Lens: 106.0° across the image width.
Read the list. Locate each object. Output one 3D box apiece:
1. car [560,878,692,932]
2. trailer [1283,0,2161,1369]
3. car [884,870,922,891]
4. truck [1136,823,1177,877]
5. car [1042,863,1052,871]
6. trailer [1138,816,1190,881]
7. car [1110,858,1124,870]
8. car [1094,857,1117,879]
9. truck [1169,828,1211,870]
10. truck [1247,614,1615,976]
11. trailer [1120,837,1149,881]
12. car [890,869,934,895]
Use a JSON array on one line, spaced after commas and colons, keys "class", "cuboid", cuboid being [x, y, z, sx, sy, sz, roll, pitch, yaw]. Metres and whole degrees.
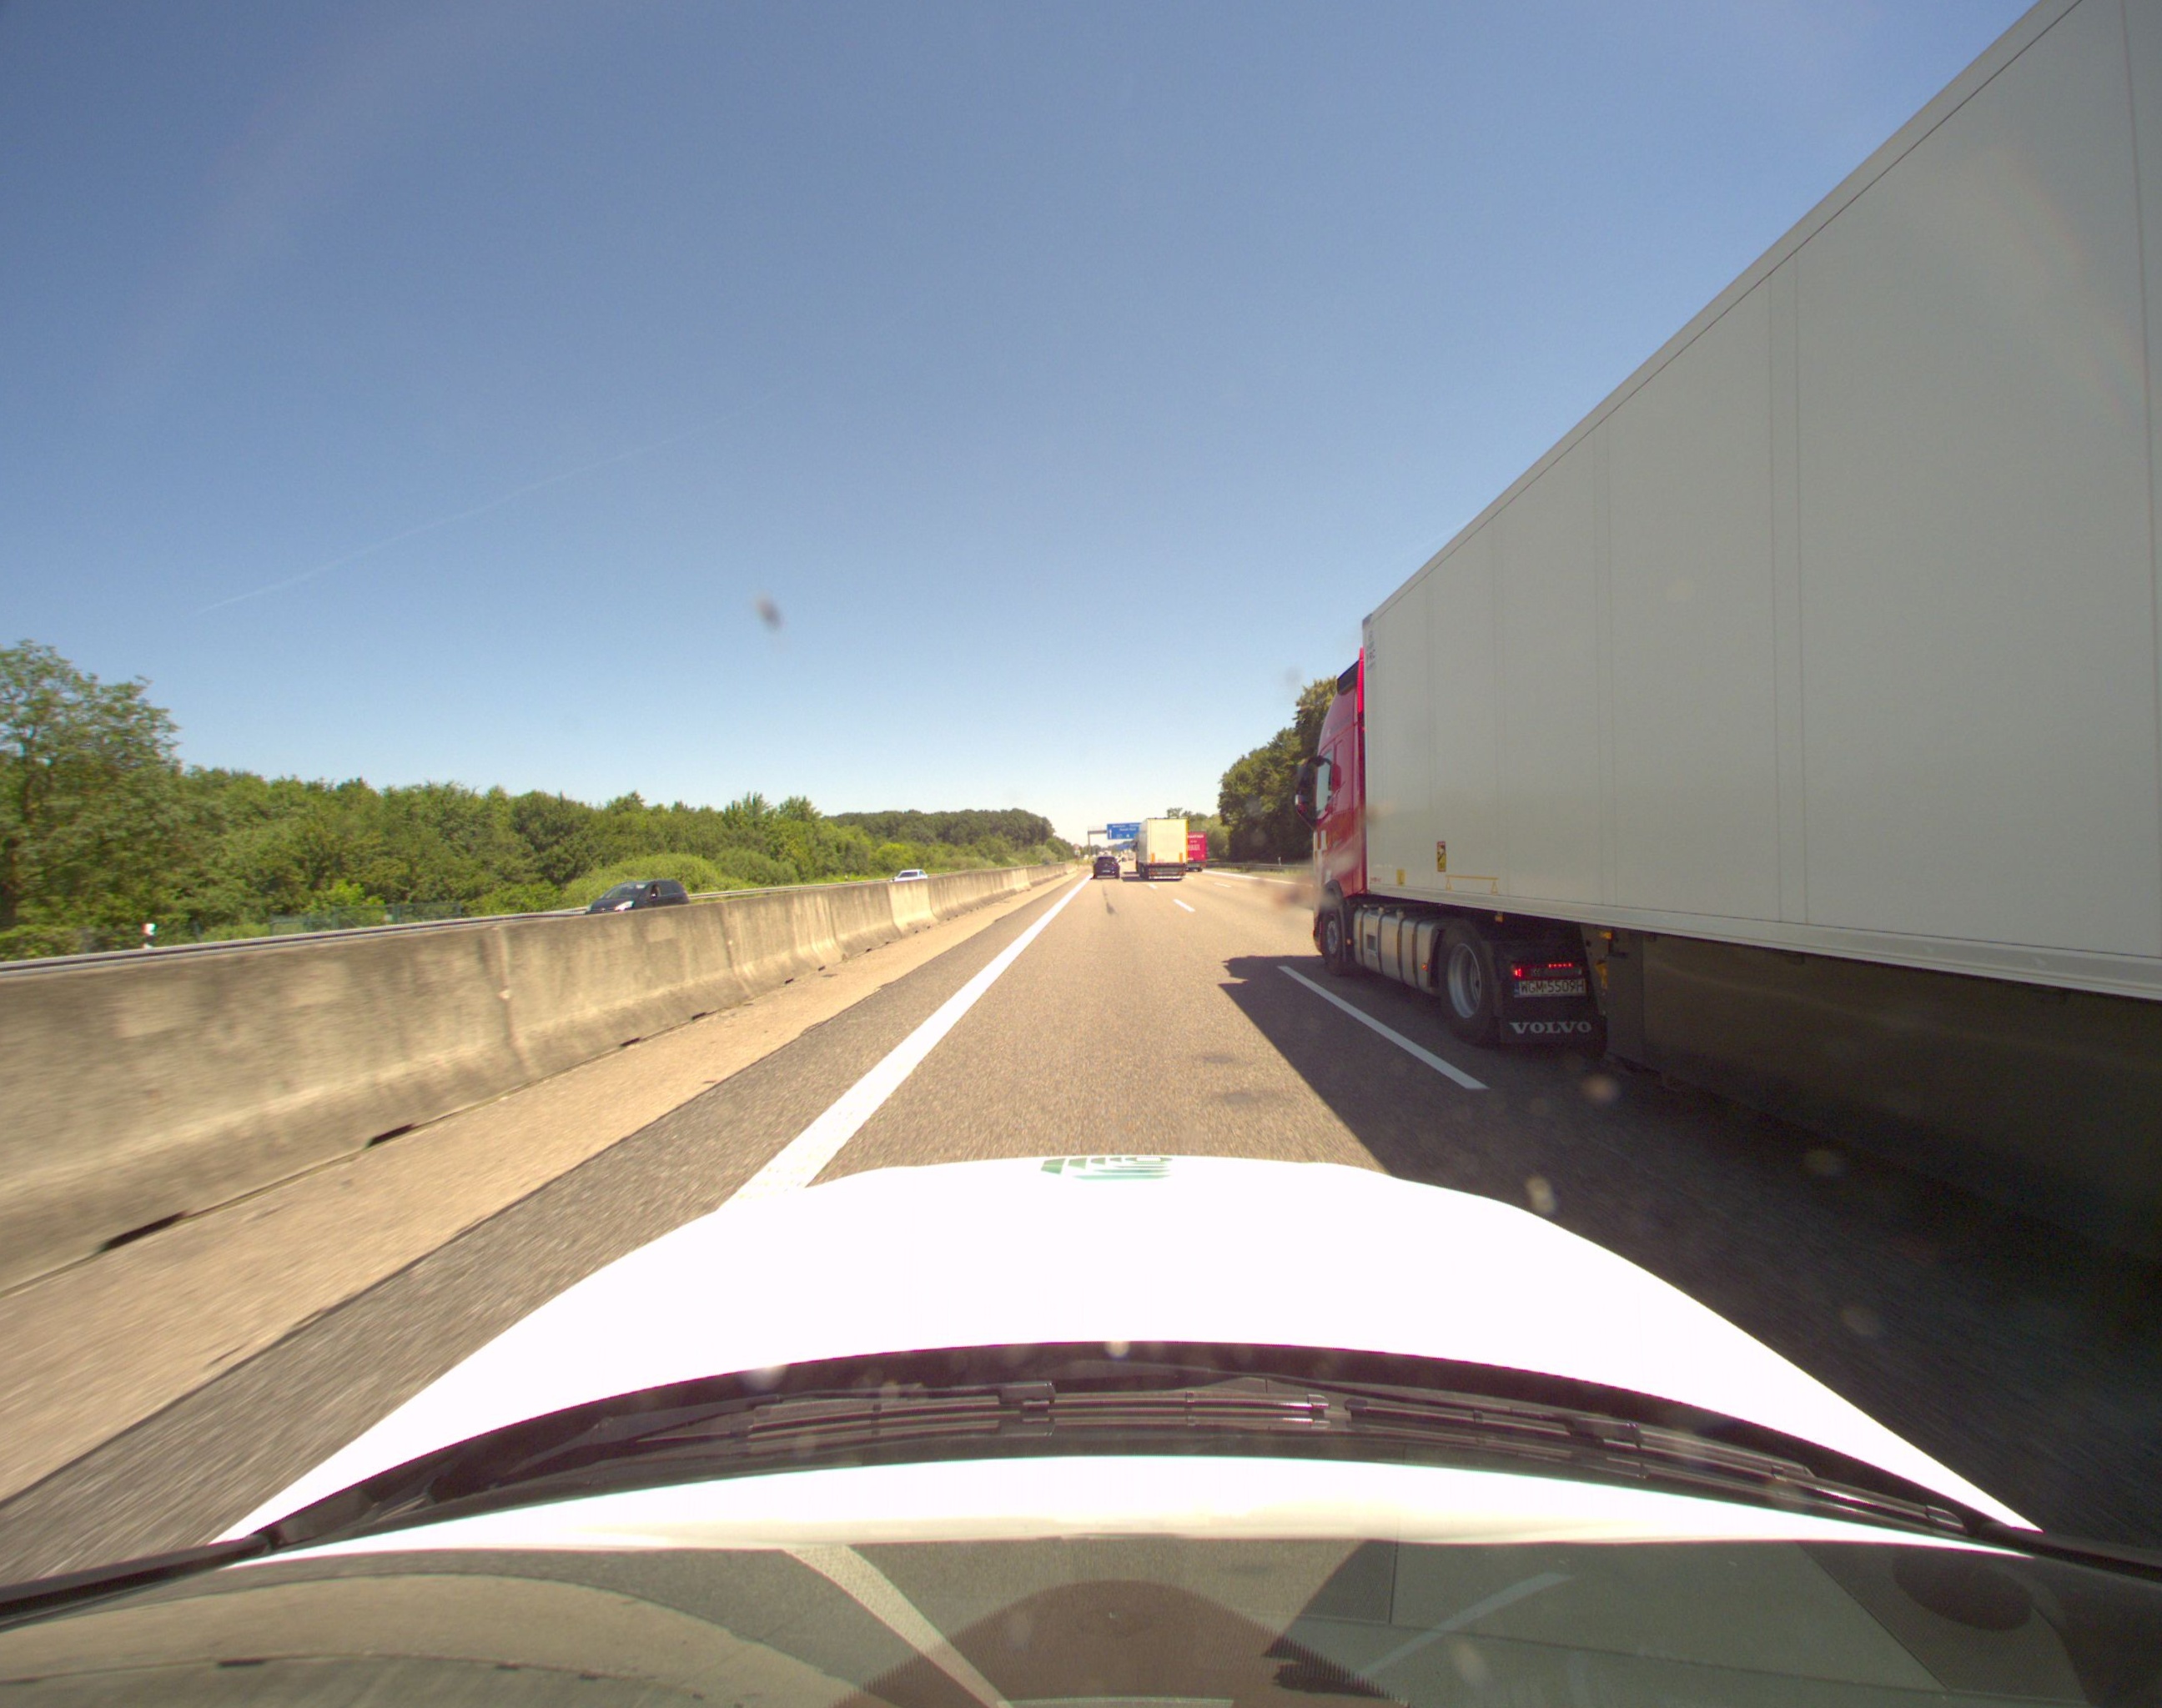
[{"class": "car", "cuboid": [-16.371, 1.784, 29.636, 1.986, 1.558, 4.685, -4, 0, 2]}, {"class": "trailer", "cuboid": [4.258, -0.692, 3.918, 2.927, 4.018, 16.205, -1, 0, 2]}, {"class": "car", "cuboid": [-14.833, 2.176, 68.050, 1.901, 1.479, 4.827, -4, 0, 2]}, {"class": "truck", "cuboid": [5.852, -0.269, 63.620, 2.789, 4.007, 6.023, -1, 0, 2]}, {"class": "car", "cuboid": [-7.123, 2.718, 171.975, 1.763, 1.471, 4.002, -3, -1, 2]}, {"class": "trailer", "cuboid": [5.596, -0.313, 56.785, 2.784, 4.035, 12.573, -1, 0, 2]}, {"class": "car", "cuboid": [4.709, 1.302, 106.932, 1.733, 1.486, 4.003, -1, 0, 3]}, {"class": "car", "cuboid": [1.808, 1.015, 61.032, 1.654, 1.549, 3.784, -1, 0, 1]}, {"class": "truck", "cuboid": [11.472, -0.443, 87.172, 3.044, 4.106, 13.221, -1, 0, 1]}, {"class": "truck", "cuboid": [4.489, -0.630, 12.082, 2.930, 3.986, 6.103, -1, -1, 1]}, {"class": "trailer", "cuboid": [5.377, 0.578, 83.691, 2.696, 4.068, 14.755, -1, -1, 3]}, {"class": "car", "cuboid": [-11.335, 1.862, 54.969, 1.767, 1.538, 4.685, -4, 0, 2]}]
